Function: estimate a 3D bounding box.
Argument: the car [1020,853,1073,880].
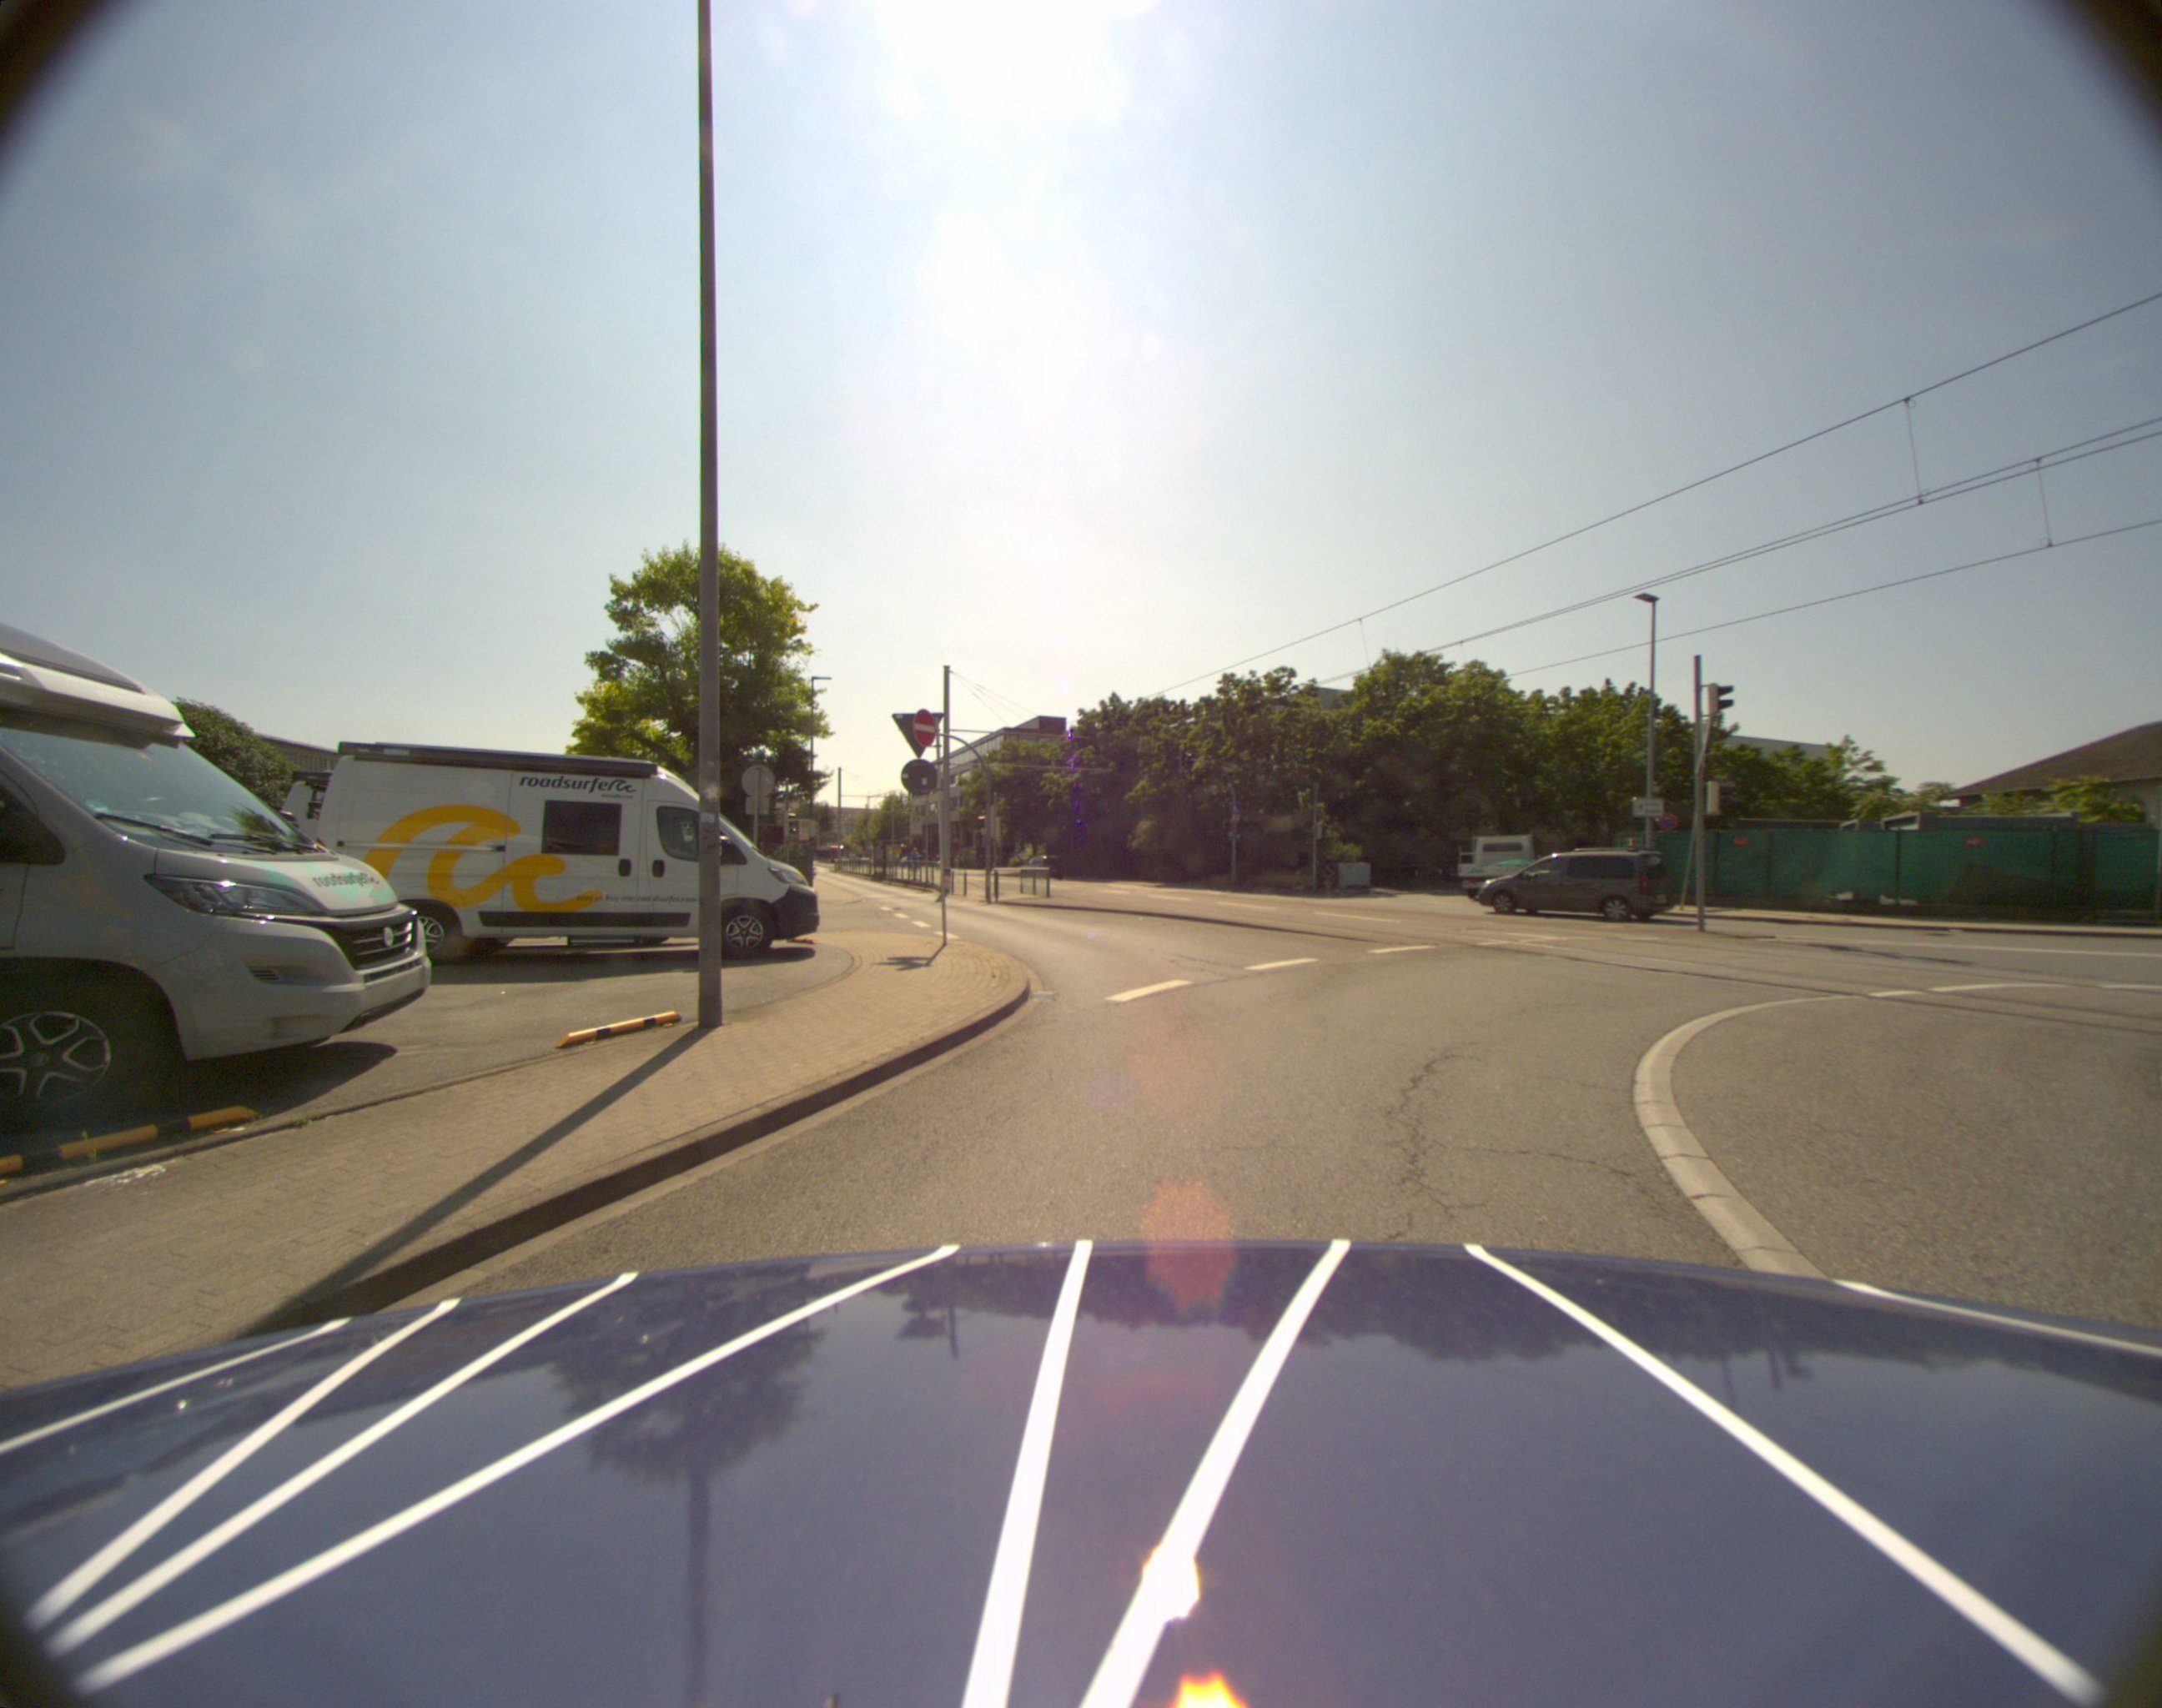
[{"bbox_3d":[-2.424,0.842,51.939,1.936,1.574,4.181,3,0,-28],"label":"car"}]

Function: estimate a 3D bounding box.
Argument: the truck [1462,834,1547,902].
[{"bbox_3d":[16.244,0.427,28.944,2.203,2.324,6.402,0,1,35],"label":"truck"}]

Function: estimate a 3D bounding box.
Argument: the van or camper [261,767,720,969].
[{"bbox_3d":[-9.079,0.206,12.401,5.529,2.797,2.045,0,-1,-19],"label":"van or camper"}]

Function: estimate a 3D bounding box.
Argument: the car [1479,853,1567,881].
[{"bbox_3d":[24.135,0.690,41.570,3.855,1.458,1.629,0,0,43],"label":"car"}]

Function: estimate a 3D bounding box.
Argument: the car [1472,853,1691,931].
[{"bbox_3d":[13.094,0.881,20.151,1.993,1.808,4.397,0,0,-35],"label":"car"}]

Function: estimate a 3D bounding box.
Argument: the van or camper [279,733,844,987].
[{"bbox_3d":[-6.328,0.115,10.261,5.836,2.757,2.087,1,-1,-21],"label":"van or camper"}]

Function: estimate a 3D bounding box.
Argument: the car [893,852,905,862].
[{"bbox_3d":[-32.973,0.524,137.657,2.001,1.613,3.994,1,0,-16],"label":"car"}]

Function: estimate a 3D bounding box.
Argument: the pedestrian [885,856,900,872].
[{"bbox_3d":[-13.029,0.657,52.539,0.947,1.093,0.725,0,0,-24],"label":"pedestrian"}]

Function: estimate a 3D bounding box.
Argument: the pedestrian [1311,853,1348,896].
[{"bbox_3d":[10.752,0.861,32.939,0.890,1.663,1.156,-4,10,-24],"label":"pedestrian"}]

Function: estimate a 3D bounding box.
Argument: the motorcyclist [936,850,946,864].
[{"bbox_3d":[-14.891,0.285,80.594,0.839,1.467,0.961,0,1,-24],"label":"motorcyclist"}]

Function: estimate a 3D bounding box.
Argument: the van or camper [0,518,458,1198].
[{"bbox_3d":[-7.567,-0.076,3.289,7.094,2.929,2.330,2,0,-23],"label":"van or camper"}]

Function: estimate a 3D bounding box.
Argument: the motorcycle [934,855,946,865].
[{"bbox_3d":[-14.958,0.619,80.709,0.826,1.005,1.960,0,0,-23],"label":"motorcycle"}]

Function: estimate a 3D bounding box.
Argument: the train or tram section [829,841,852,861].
[{"bbox_3d":[-44.141,-0.547,139.361,2.686,3.464,12.302,1,0,-24],"label":"train or tram section"}]

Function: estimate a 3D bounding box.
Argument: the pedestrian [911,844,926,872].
[{"bbox_3d":[-10.320,0.240,48.180,0.727,1.714,0.943,-1,1,-23],"label":"pedestrian"}]

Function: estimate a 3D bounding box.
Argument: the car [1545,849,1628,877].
[{"bbox_3d":[30.427,0.498,45.818,1.628,1.628,3.858,0,0,-29],"label":"car"}]

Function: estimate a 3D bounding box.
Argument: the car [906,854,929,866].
[{"bbox_3d":[-20.791,0.749,96.277,1.916,1.433,4.586,2,-1,-24],"label":"car"}]
